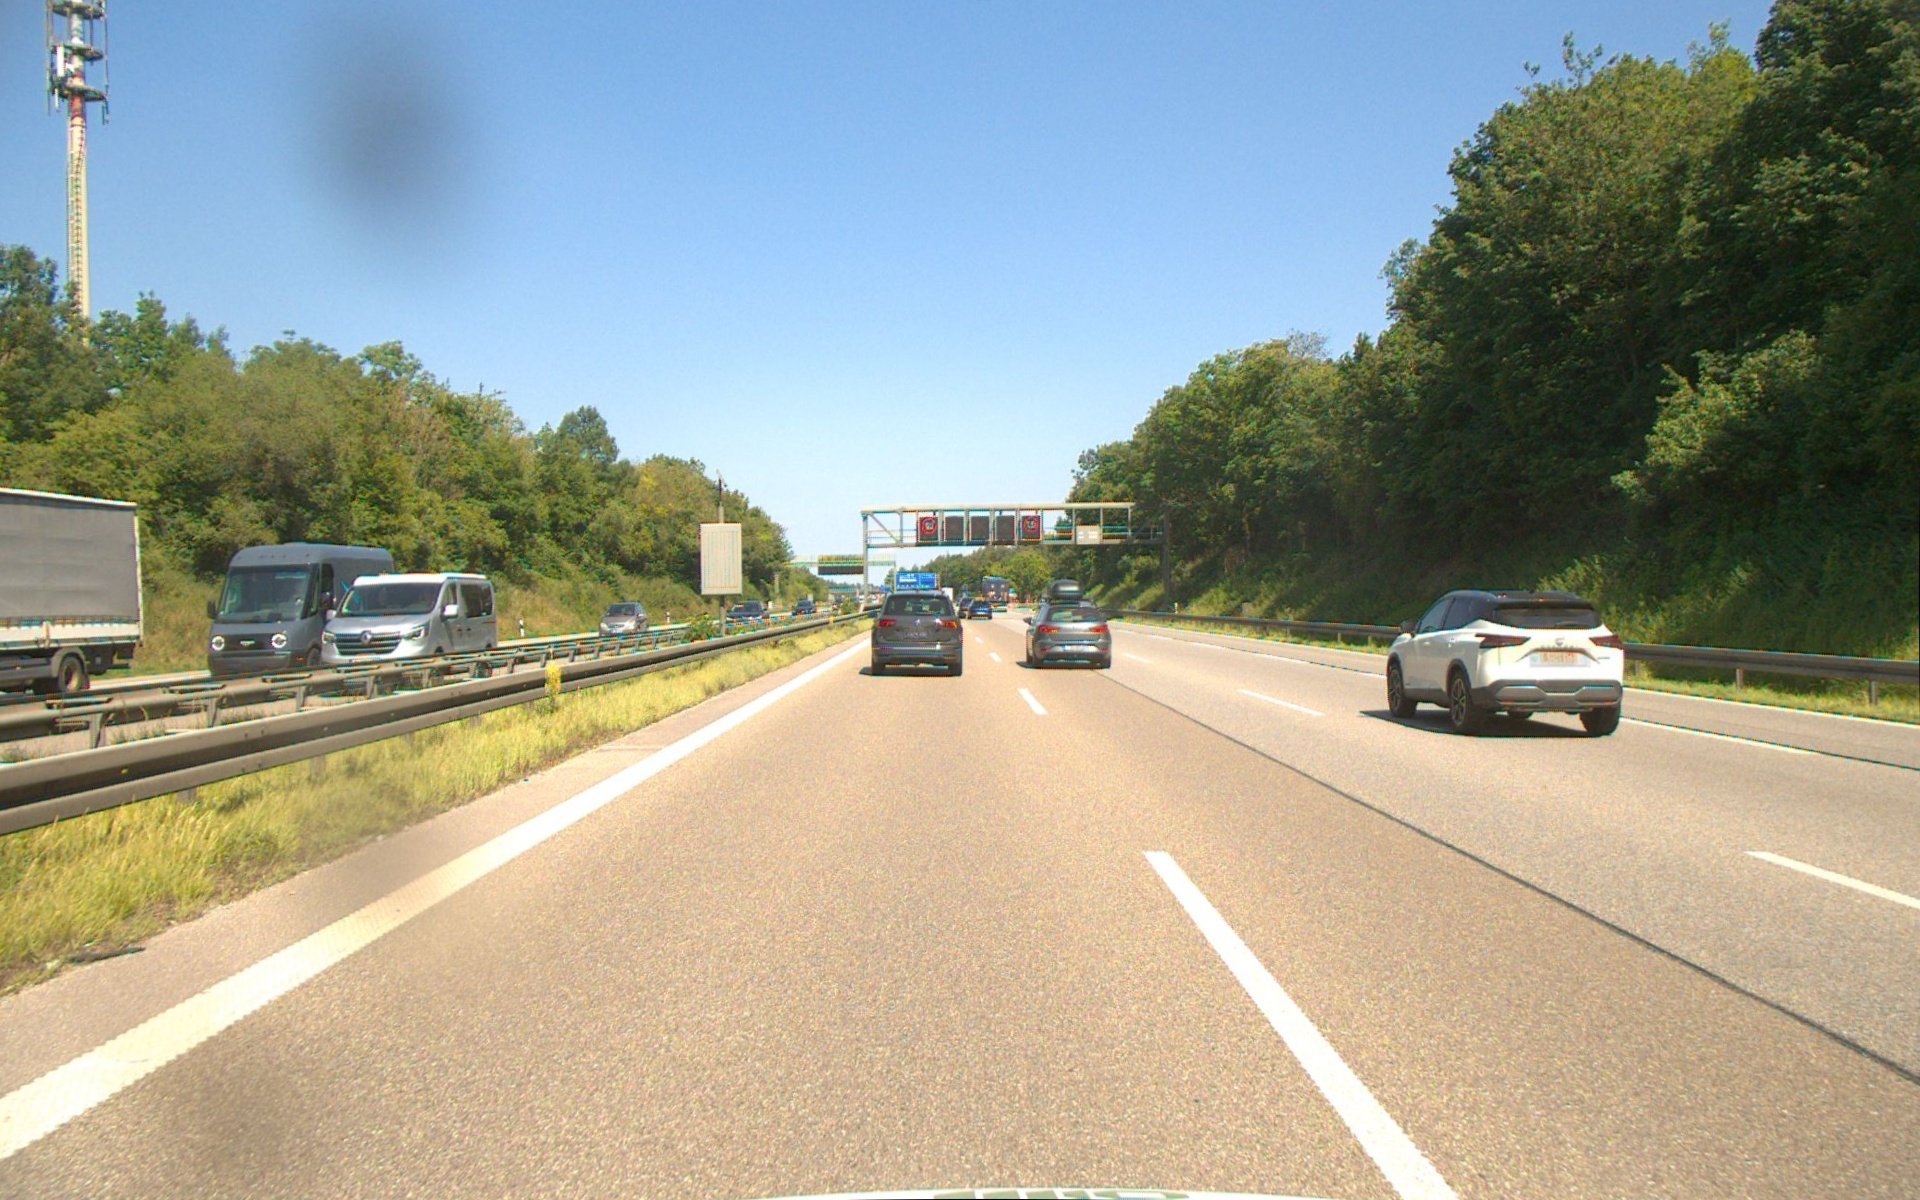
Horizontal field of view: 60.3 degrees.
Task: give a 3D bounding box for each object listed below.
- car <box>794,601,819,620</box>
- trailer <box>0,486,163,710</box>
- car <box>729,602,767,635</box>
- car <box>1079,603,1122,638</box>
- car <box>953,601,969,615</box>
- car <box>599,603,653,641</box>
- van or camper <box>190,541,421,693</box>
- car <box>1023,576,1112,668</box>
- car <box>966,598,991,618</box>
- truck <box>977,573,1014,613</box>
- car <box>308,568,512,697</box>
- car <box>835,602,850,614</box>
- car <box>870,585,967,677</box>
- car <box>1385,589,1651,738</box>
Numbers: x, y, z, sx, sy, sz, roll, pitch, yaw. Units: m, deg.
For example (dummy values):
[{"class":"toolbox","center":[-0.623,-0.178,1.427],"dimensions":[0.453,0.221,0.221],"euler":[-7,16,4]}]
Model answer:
[{"class":"car","center":[-11.981,0.803,129.230],"dimensions":[1.679,1.422,4.148],"euler":[-1,0,-1]},{"class":"trailer","center":[-17.938,0.007,30.574],"dimensions":[2.657,3.876,7.691],"euler":[-2,0,-1]},{"class":"car","center":[-10.201,0.877,79.599],"dimensions":[1.404,1.555,3.456],"euler":[-1,0,-1]},{"class":"car","center":[6.764,0.958,79.857],"dimensions":[1.728,1.595,4.258],"euler":[1,0,1]},{"class":"car","center":[0.122,0.830,170.852],"dimensions":[1.441,1.422,3.409],"euler":[2,0,-2]},{"class":"car","center":[-14.425,0.932,71.493],"dimensions":[1.641,1.522,3.544],"euler":[-1,0,-1]},{"class":"van or camper","center":[-13.862,0.328,35.630],"dimensions":[2.152,2.860,6.797],"euler":[-3,0,0]},{"class":"car","center":[2.375,0.461,37.512],"dimensions":[1.631,1.909,4.826],"euler":[-1,0,-1]},{"class":"car","center":[1.369,0.543,120.719],"dimensions":[1.728,1.406,4.258],"euler":[1,0,1]},{"class":"truck","center":[4.110,-0.769,195.294],"dimensions":[3.704,4.499,14.045],"euler":[0,0,-2]},{"class":"car","center":[-9.716,0.526,29.698],"dimensions":[1.889,2.015,5.234],"euler":[-3,0,-1]},{"class":"car","center":[-12.933,0.901,181.477],"dimensions":[1.449,1.231,3.456],"euler":[-1,0,-1]},{"class":"car","center":[-0.772,0.578,33.175],"dimensions":[1.762,1.698,4.258],"euler":[1,0,1]},{"class":"car","center":[6.557,0.684,19.914],"dimensions":[1.806,1.595,4.035],"euler":[0,0,-1]}]
